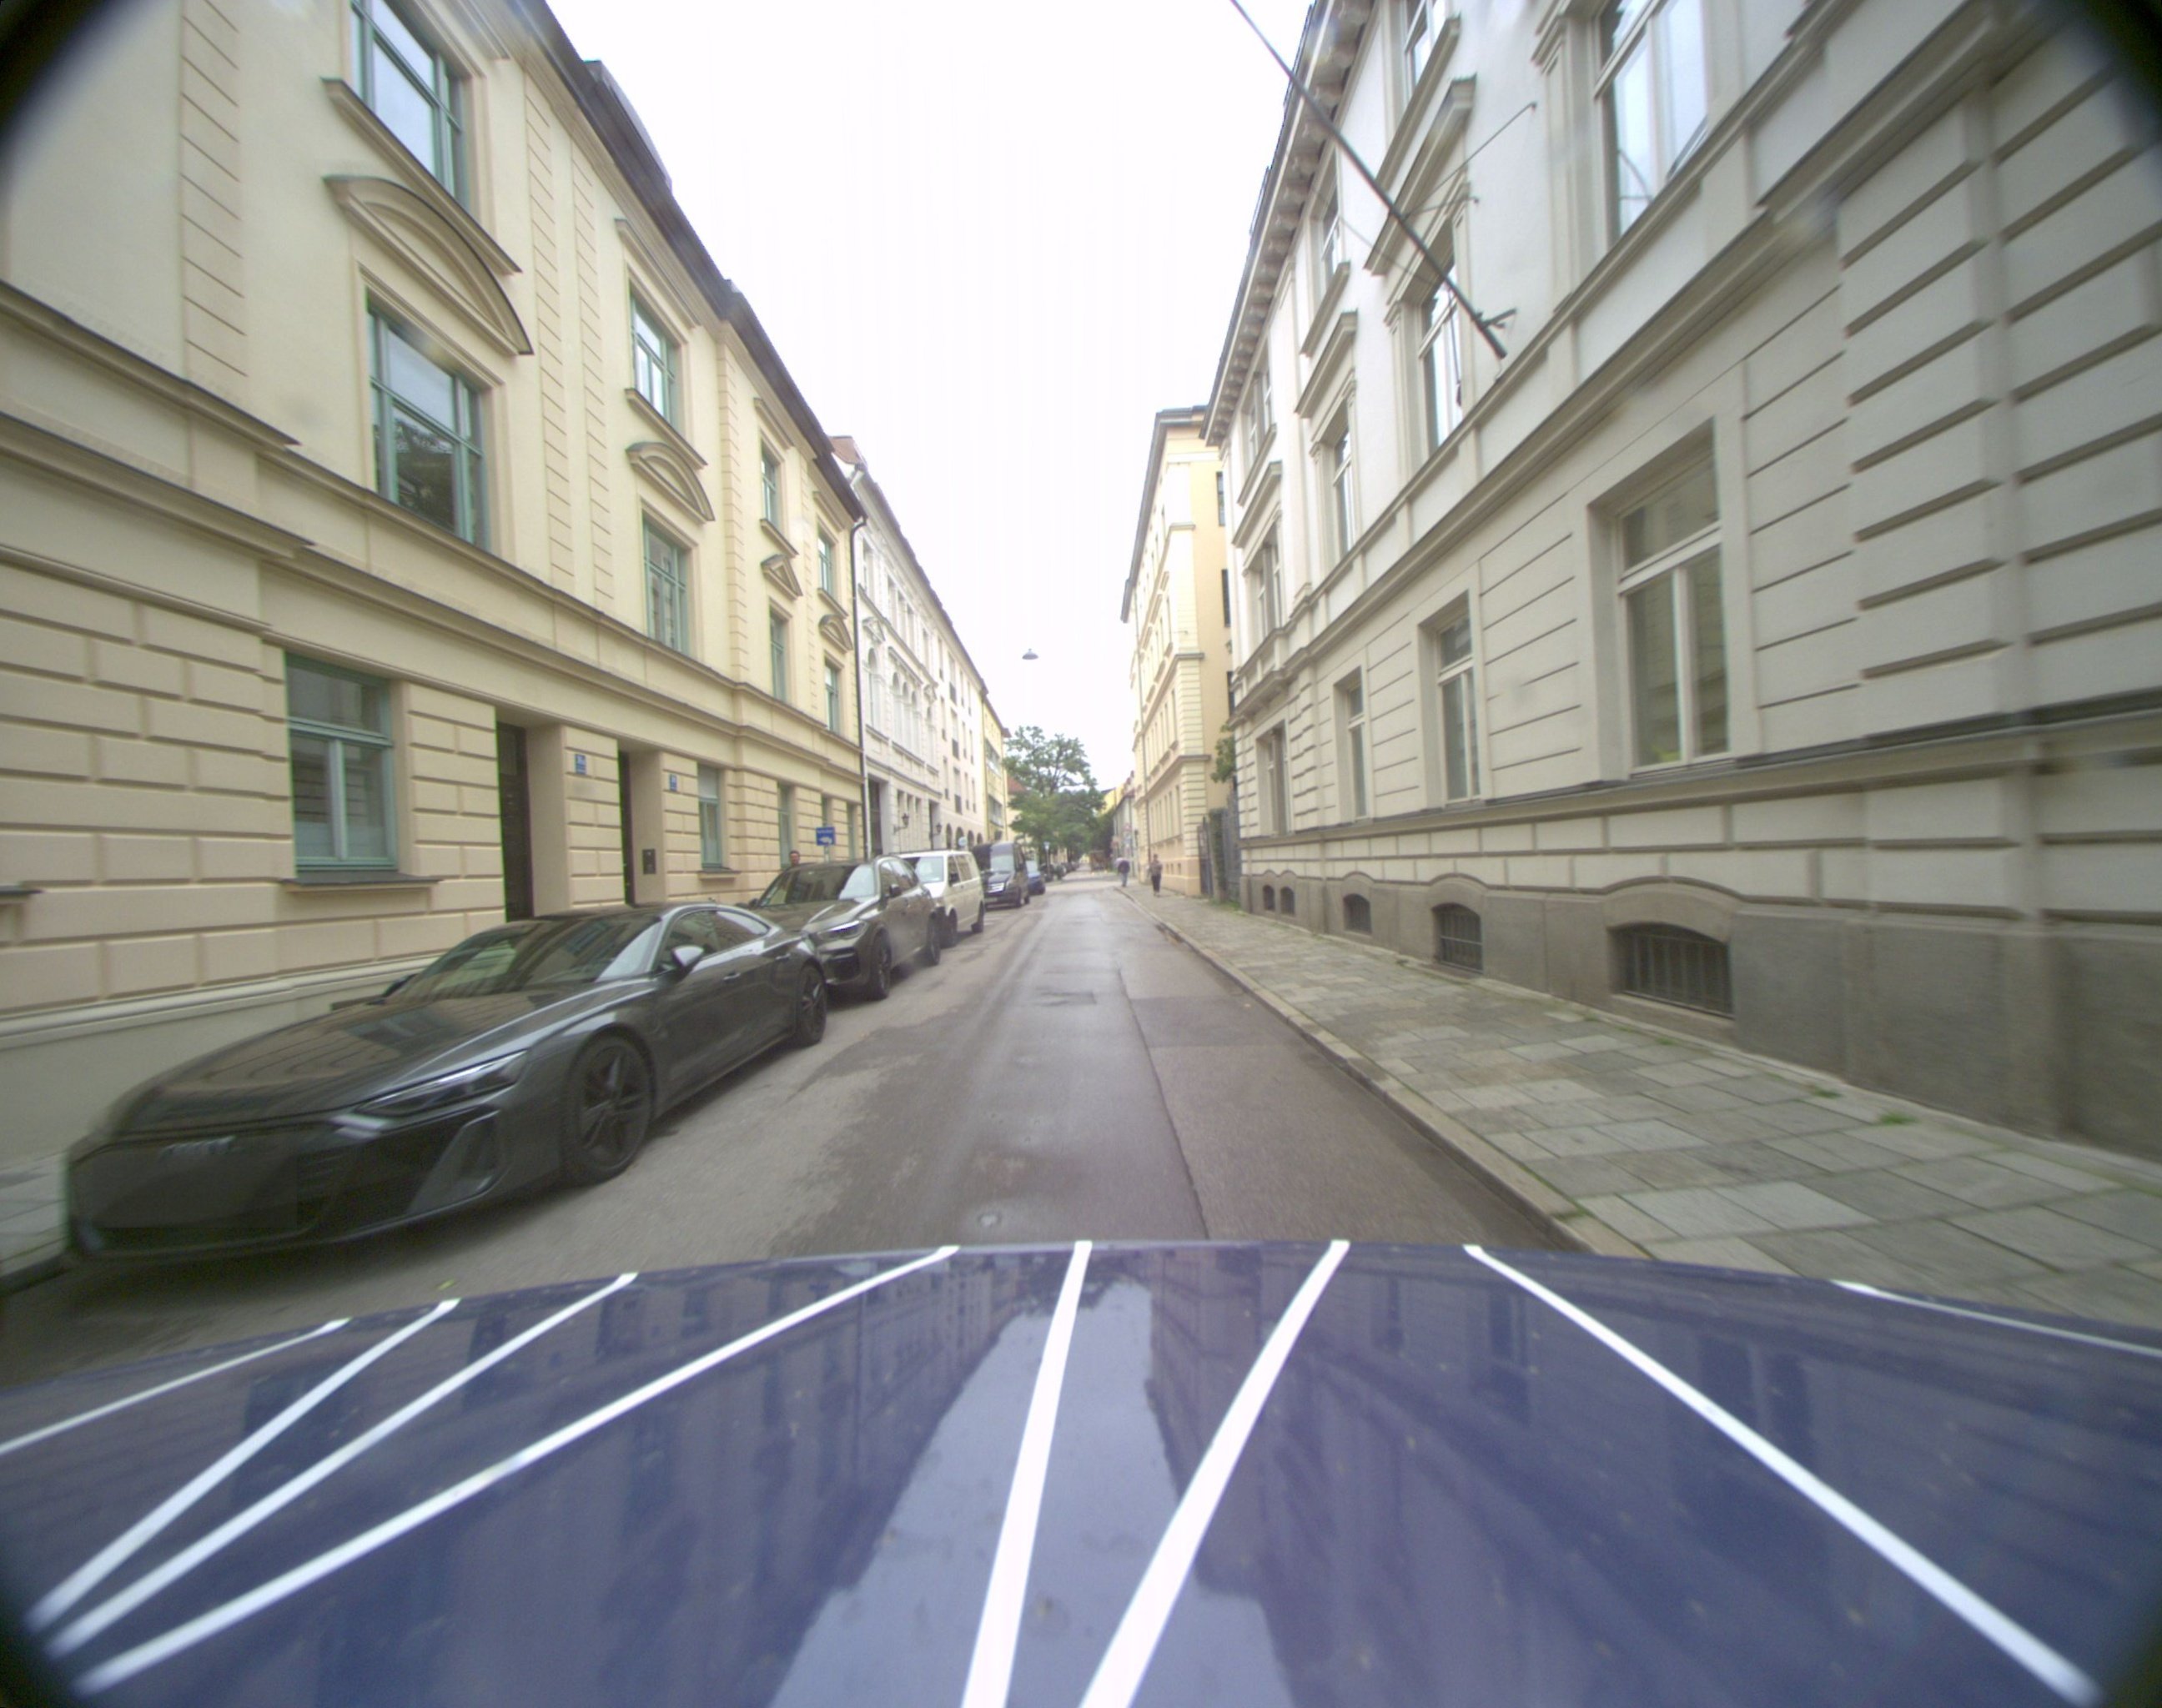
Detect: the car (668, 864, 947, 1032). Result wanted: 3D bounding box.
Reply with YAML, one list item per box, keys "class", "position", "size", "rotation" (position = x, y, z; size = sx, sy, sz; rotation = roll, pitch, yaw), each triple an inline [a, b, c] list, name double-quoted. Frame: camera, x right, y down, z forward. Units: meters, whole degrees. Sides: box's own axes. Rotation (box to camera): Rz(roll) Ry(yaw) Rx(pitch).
- class: "car"
  position: [-3.297, 1.023, 10.301]
  size: [1.998, 1.676, 4.510]
  rotation: [-2, 0, 1]

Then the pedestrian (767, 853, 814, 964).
- class: "pedestrian"
  position: [-5.334, 0.989, 13.955]
  size: [0.581, 1.966, 0.455]
  rotation: [-3, 0, 0]

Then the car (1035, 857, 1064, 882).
- class: "car"
  position: [-2.705, 1.326, 65.997]
  size: [2.014, 1.914, 5.090]
  rotation: [-6, 0, 1]

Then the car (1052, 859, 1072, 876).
- class: "car"
  position: [-2.370, 1.660, 95.535]
  size: [2.014, 1.969, 5.090]
  rotation: [-6, 0, 1]

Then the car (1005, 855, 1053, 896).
- class: "car"
  position: [-2.857, 1.165, 42.848]
  size: [2.014, 1.989, 5.090]
  rotation: [-6, 0, 1]

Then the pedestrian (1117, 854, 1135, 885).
- class: "pedestrian"
  position: [2.575, 0.903, 43.994]
  size: [0.920, 1.742, 1.066]
  rotation: [-2, 0, 0]

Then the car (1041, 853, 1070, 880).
- class: "car"
  position: [-2.420, 1.168, 72.464]
  size: [2.242, 2.246, 5.090]
  rotation: [-6, 0, 1]

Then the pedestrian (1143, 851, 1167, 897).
- class: "pedestrian"
  position: [2.852, 0.774, 29.423]
  size: [0.766, 1.742, 0.970]
  rotation: [-2, 0, 0]

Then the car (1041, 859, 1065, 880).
- class: "car"
  position: [-2.967, 1.604, 80.430]
  size: [2.014, 1.969, 5.090]
  rotation: [-6, 0, 1]

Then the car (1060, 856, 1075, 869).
- class: "car"
  position: [-2.233, 1.392, 126.955]
  size: [2.014, 1.969, 5.090]
  rotation: [-6, 0, 1]

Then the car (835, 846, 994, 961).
- class: "car"
  position: [-3.318, 0.914, 16.322]
  size: [1.998, 2.002, 5.064]
  rotation: [-2, 0, 3]

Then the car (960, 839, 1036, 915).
- class: "car"
  position: [-3.080, 0.815, 29.429]
  size: [2.014, 2.479, 5.090]
  rotation: [-6, 0, 1]

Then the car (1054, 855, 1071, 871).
- class: "car"
  position: [-2.574, 1.260, 106.675]
  size: [2.014, 1.969, 5.090]
  rotation: [-6, 0, 1]

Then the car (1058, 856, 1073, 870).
- class: "car"
  position: [-2.409, 1.452, 121.690]
  size: [2.014, 1.969, 5.090]
  rotation: [-6, 0, 1]

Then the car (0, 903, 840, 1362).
- class: "car"
  position: [-3.377, 1.149, 4.986]
  size: [1.998, 1.306, 4.593]
  rotation: [-2, 0, 1]
